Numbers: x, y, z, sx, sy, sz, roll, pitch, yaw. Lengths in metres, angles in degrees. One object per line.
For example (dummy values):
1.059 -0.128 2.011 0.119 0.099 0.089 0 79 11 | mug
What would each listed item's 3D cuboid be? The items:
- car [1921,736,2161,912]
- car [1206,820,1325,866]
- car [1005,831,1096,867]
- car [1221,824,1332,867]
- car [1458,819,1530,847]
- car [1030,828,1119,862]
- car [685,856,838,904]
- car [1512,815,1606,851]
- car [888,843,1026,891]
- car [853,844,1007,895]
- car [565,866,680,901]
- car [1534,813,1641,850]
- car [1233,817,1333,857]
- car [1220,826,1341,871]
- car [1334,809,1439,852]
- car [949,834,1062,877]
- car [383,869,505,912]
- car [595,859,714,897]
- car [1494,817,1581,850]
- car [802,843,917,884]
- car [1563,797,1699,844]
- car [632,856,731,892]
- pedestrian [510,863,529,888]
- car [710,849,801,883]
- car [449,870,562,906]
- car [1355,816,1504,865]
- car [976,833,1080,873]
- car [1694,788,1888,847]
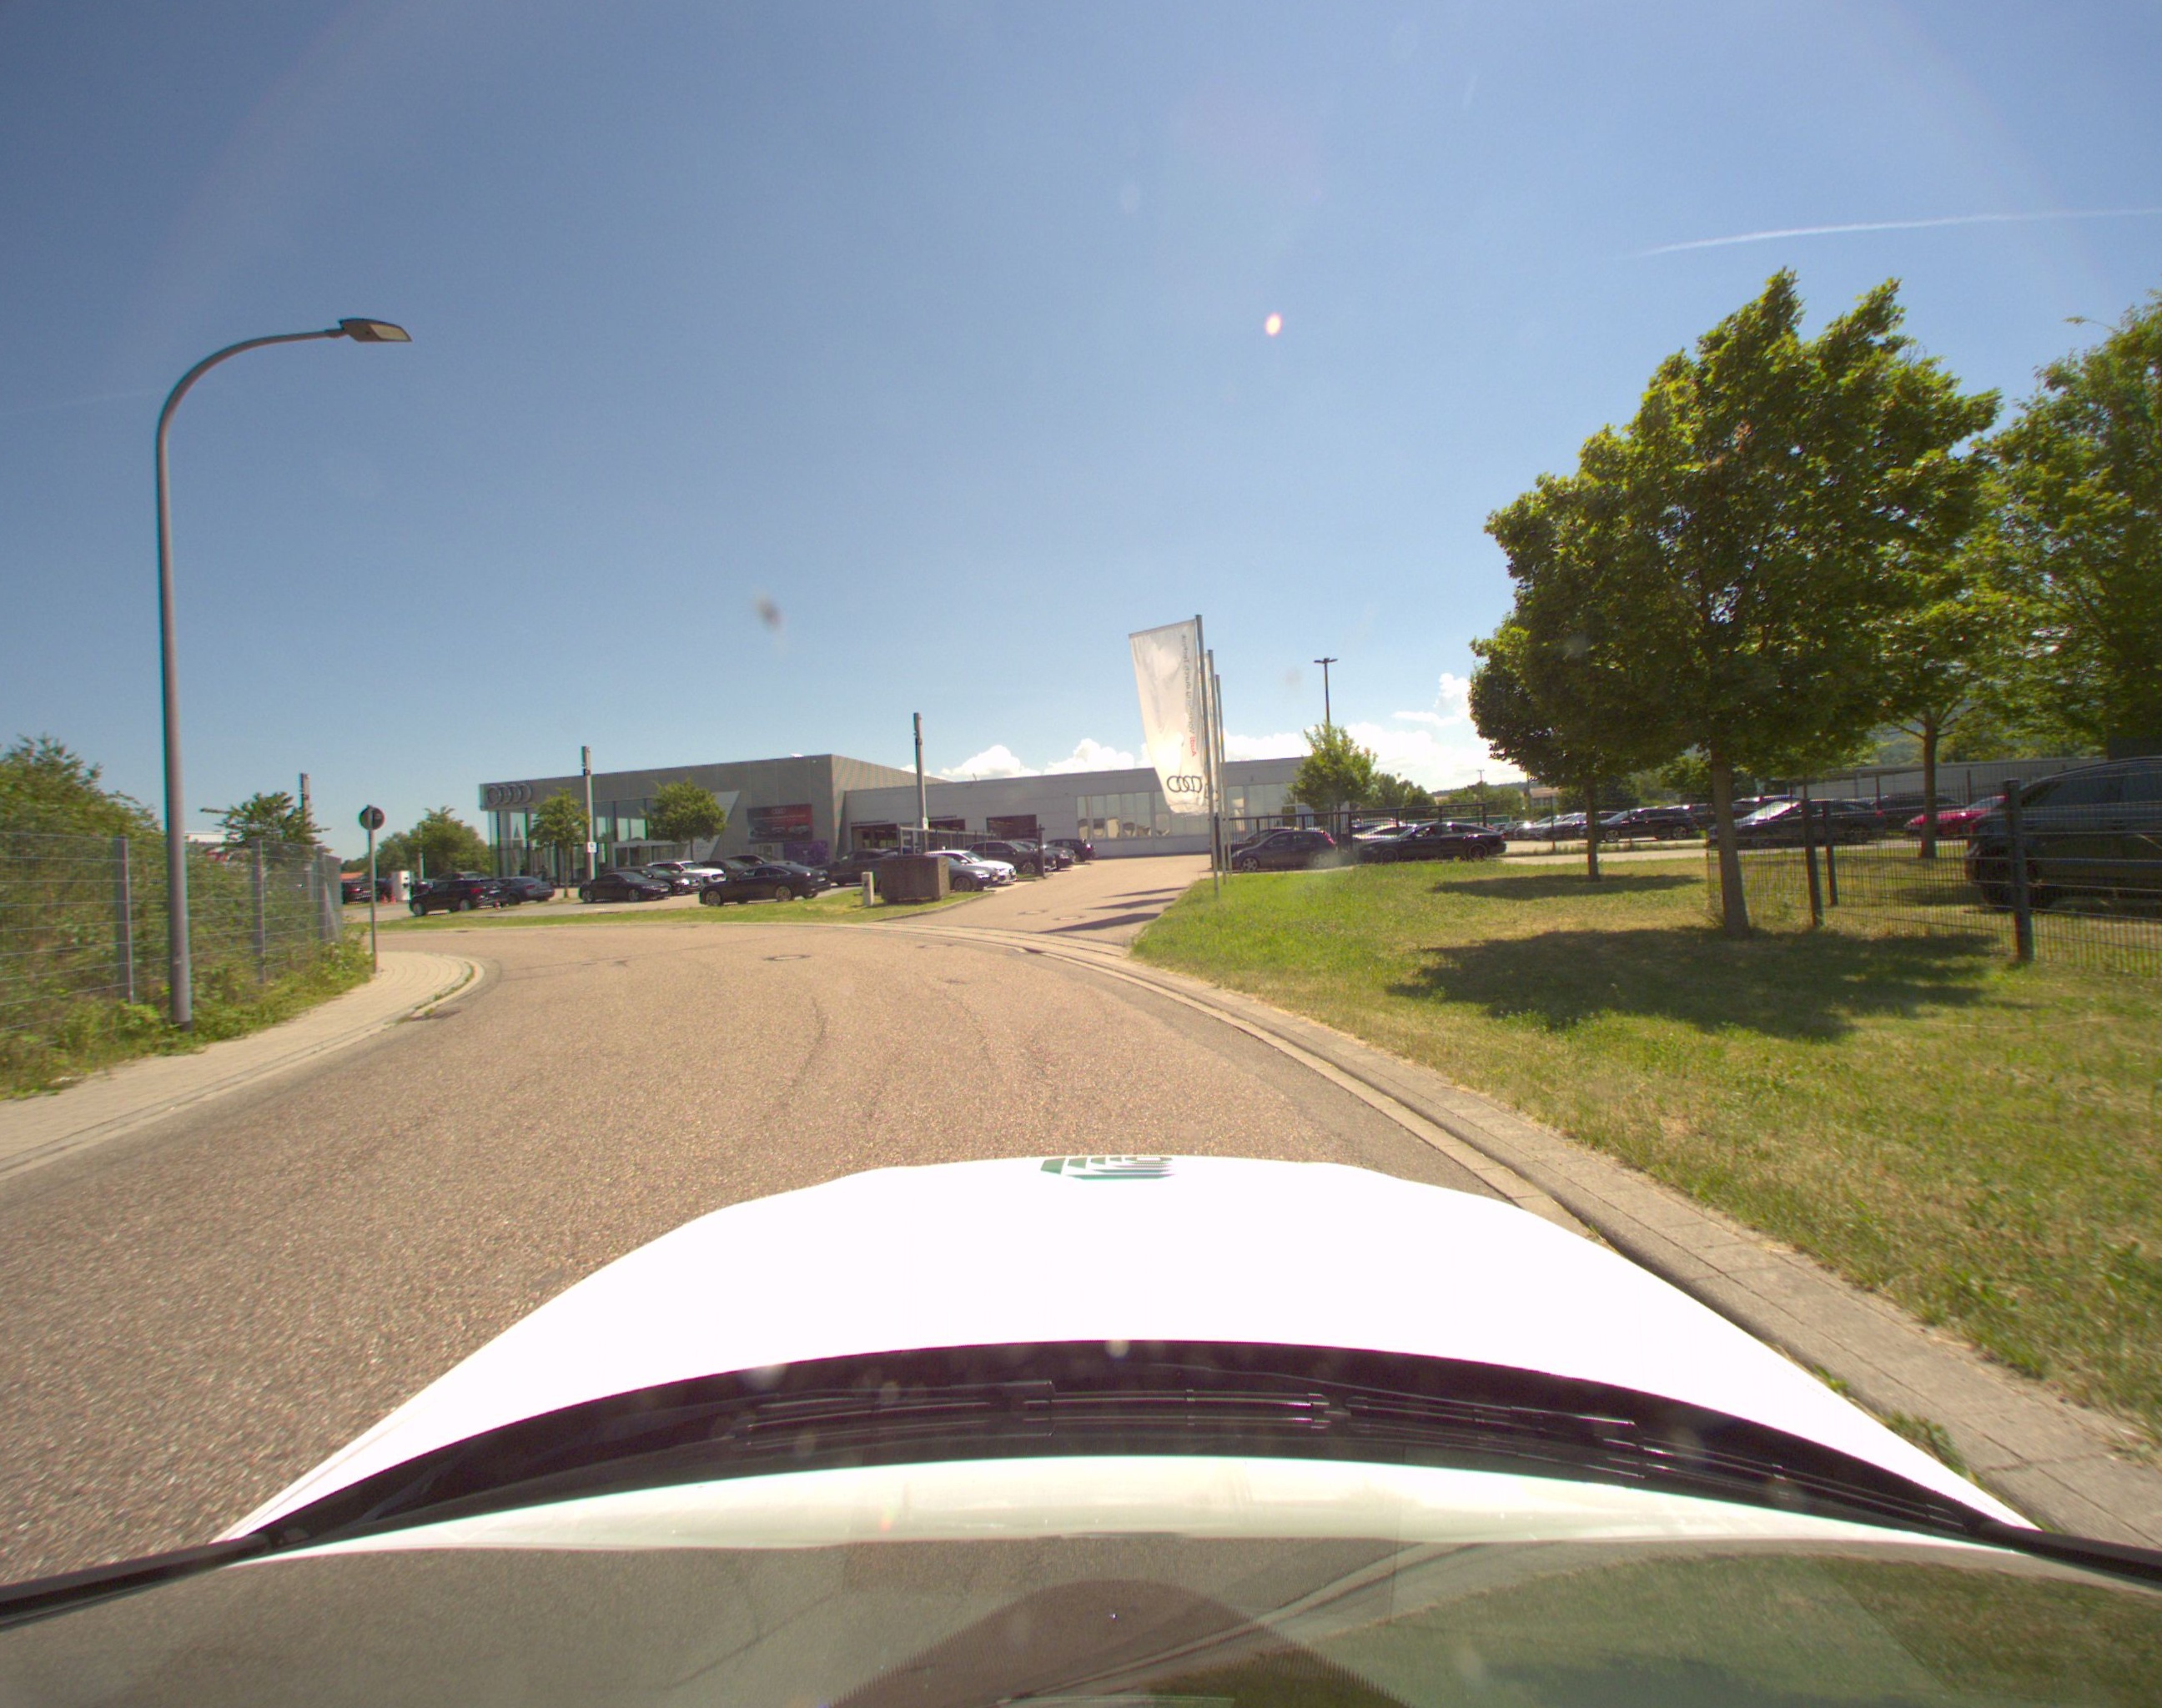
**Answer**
10.824 -0.307 7.756 1.763 1.601 4.296 -3 -2 12 | car
7.542 -0.462 33.599 4.581 1.630 1.974 -3 1 11 | car
-1.555 -0.268 42.746 4.335 1.630 1.974 -3 1 11 | car
8.576 -0.385 36.072 4.581 1.630 1.974 -3 1 11 | car
28.600 -1.427 56.494 3.965 1.688 2.004 -3 0 7 | car
-0.339 -0.514 45.426 4.581 1.630 1.974 -3 1 11 | car
-11.864 0.958 30.384 4.975 1.454 1.892 -3 2 11 | car
26.351 -1.121 45.029 3.964 1.688 2.005 -3 0 8 | car
-4.823 0.496 31.837 4.897 1.528 1.831 -3 1 11 | car
-5.343 0.539 29.093 4.897 1.467 1.974 -3 1 11 | car
-21.126 1.352 37.577 4.270 1.374 1.974 -2 2 11 | car
25.029 -1.099 40.423 3.962 1.556 2.119 -3 0 10 | car
9.847 -0.803 39.956 4.581 1.630 1.974 -3 0 11 | car
7.297 -0.215 29.857 4.102 1.349 1.787 -3 1 14 | car
13.834 -1.035 37.142 4.172 1.630 1.801 -4 0 11 | car
-3.333 0.066 36.565 4.581 1.630 1.974 -3 1 11 | car
-28.488 1.630 36.488 4.186 1.571 1.900 -3 2 11 | car
-21.105 1.183 40.369 4.957 1.553 1.974 -3 1 11 | car
26.860 -1.182 48.053 3.965 1.688 2.004 -3 0 7 | car
-10.254 0.441 37.821 4.739 1.643 1.836 -3 0 11 | car
23.950 -1.425 35.610 4.438 1.688 2.004 -3 0 7 | car
-20.980 1.040 42.850 4.247 1.613 1.974 -3 1 11 | car
-41.081 1.564 59.622 0.737 1.776 0.776 -3 0 17 | pedestrian
-19.711 0.740 49.438 4.683 1.739 1.974 -3 1 11 | car
-27.753 1.640 39.338 4.186 1.366 1.974 -3 3 11 | car
12.054 -0.475 28.462 4.525 1.401 1.787 -3 1 14 | car
-2.533 -0.080 39.382 4.581 1.630 1.974 -3 1 11 | car
22.798 -1.157 26.339 4.360 1.566 1.787 -3 1 14 | car
